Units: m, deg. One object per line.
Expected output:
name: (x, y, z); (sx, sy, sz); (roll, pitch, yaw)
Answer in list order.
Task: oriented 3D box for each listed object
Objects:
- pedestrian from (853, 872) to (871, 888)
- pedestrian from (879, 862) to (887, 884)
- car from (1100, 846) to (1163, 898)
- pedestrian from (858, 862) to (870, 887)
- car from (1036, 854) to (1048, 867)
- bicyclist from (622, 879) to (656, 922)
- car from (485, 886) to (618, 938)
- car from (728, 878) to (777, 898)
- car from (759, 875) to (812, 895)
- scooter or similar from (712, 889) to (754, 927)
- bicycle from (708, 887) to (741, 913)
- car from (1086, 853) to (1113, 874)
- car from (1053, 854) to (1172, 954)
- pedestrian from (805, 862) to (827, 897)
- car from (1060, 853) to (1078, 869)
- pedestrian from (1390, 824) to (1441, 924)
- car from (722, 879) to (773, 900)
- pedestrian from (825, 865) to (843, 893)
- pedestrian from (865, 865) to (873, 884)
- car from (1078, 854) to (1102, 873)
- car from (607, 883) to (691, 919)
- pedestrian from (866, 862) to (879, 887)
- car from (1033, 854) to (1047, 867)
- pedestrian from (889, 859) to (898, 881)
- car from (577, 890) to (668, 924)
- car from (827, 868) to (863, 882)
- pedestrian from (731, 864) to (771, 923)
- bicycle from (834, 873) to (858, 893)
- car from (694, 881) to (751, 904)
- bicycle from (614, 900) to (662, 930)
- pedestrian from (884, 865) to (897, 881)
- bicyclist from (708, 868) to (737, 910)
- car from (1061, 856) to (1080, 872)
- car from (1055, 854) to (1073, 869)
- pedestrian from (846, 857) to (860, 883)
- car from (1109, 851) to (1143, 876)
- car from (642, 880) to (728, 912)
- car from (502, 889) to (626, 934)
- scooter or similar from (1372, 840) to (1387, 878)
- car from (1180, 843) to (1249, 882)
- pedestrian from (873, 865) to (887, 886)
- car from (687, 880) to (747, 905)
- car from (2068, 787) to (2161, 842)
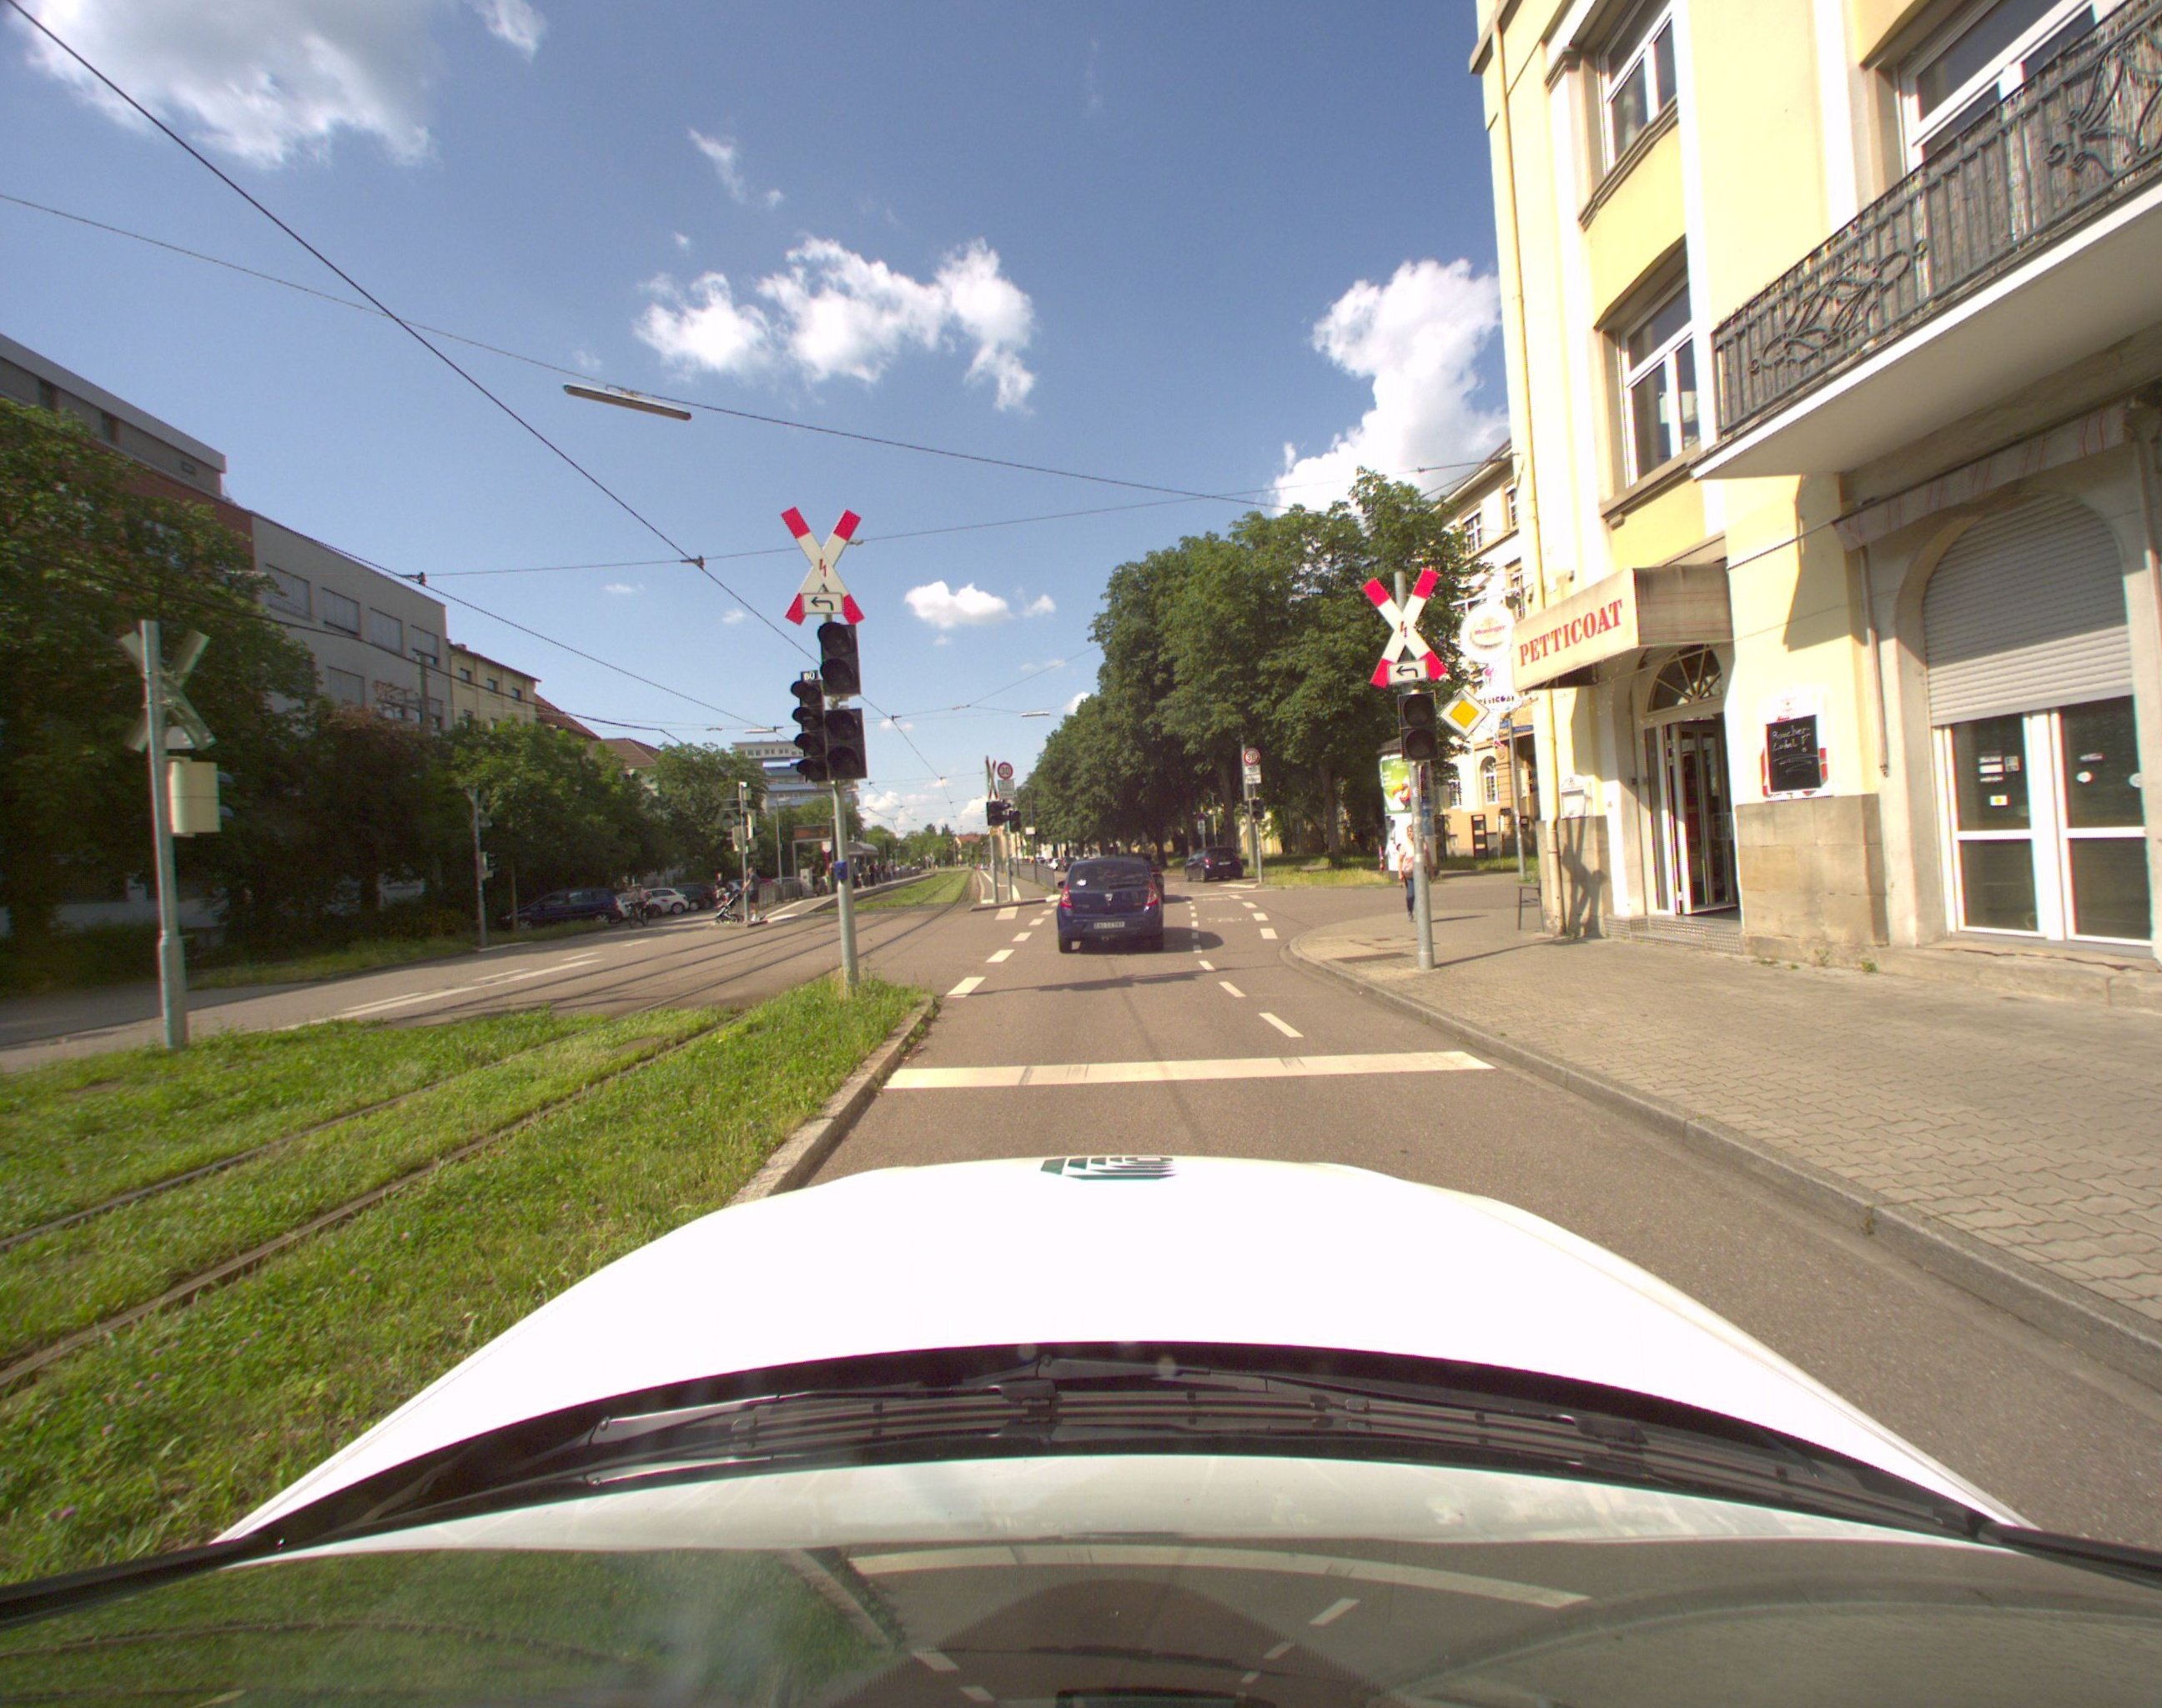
pedestrian: (-14.909, 1.779, 55.450); (0.923, 0.989, 0.796); (-5, -2, -5)
pedestrian: (-16.078, 1.562, 66.156); (0.489, 1.712, 0.461); (-5, 0, -17)
car: (1.456, 0.475, 24.312); (1.693, 1.368, 3.516); (-2, 0, 2)
pedestrian: (-15.532, 1.485, 58.186); (0.592, 1.736, 0.556); (-5, 0, -3)
car: (-5.925, 0.943, 123.054); (1.664, 1.772, 3.995); (-4, 0, -3)
bicyclist: (-17.373, 1.812, 32.014); (0.783, 1.581, 0.862); (-5, 0, -4)
car: (-21.278, 2.306, 32.836); (1.704, 1.640, 4.158); (-4, 0, 44)
car: (-26.049, 2.719, 64.677); (1.437, 1.309, 3.268); (-4, 0, 37)
car: (-26.080, 2.695, 72.006); (1.694, 1.367, 4.025); (-5, 0, 42)
scooter or similar: (-11.044, 1.702, 25.885); (0.954, 1.064, 0.795); (-6, 0, -8)
bicycle: (-18.169, 2.353, 41.599); (1.156, 1.177, 1.779); (-5, 0, -14)
car: (1.486, 0.766, 67.293); (1.856, 1.445, 3.997); (-6, 0, -2)
car: (0.550, 0.764, 14.354); (1.761, 1.462, 3.777); (-2, 0, 2)
pedestrian: (-13.844, 1.338, 42.545); (0.705, 1.726, 0.672); (-4, 0, 35)
car: (-1.366, 0.772, 89.859); (1.823, 1.537, 3.997); (-5, 0, -2)
pedestrian: (5.779, 0.335, 14.104); (0.666, 1.648, 0.767); (-5, -1, 21)
car: (-25.355, 2.673, 61.936); (1.437, 1.309, 3.268); (-4, 0, 37)
pedestrian: (-14.425, 1.462, 47.555); (0.661, 1.569, 0.686); (-5, 0, 1)
pedestrian: (-17.072, 1.631, 65.633); (0.489, 1.452, 0.461); (-5, 0, -17)
car: (0.789, 0.844, 71.916); (1.847, 1.515, 3.997); (-4, 0, -2)
car: (-22.125, 2.389, 41.775); (3.409, 1.505, 1.525); (-4, 0, -45)
pedestrian: (-15.160, 1.470, 59.254); (0.602, 1.766, 0.639); (-4, 0, 2)
car: (-5.919, 0.937, 116.934); (1.825, 1.761, 3.997); (-4, 0, -2)
pedestrian: (-17.733, 1.540, 76.999); (0.661, 2.013, 0.800); (-4, 0, -12)
car: (-21.755, 2.495, 38.677); (1.525, 1.236, 3.410); (-4, 0, 44)
car: (-29.603, 2.586, 102.172); (4.022, 1.447, 1.707); (-4, 0, -42)
pedestrian: (-10.583, 1.239, 26.153); (0.872, 1.775, 0.999); (-6, 0, -13)
bicycle: (-13.659, 1.688, 47.446); (0.683, 0.974, 1.772); (-6, 0, 3)
car: (-24.568, 2.620, 55.898); (1.437, 1.309, 3.268); (-4, 0, 37)
bicycle: (-17.295, 2.365, 31.855); (0.679, 0.971, 2.176); (-5, 0, -3)
pedestrian: (-18.478, 1.838, 79.092); (1.033, 1.437, 0.698); (-5, 0, -22)
bicyclist: (-18.279, 1.776, 41.551); (0.949, 2.013, 1.568); (-4, 0, -14)
car: (-1.107, 0.989, 84.393); (1.856, 1.445, 3.997); (-5, 0, -2)
car: (-2.076, 0.916, 98.260); (1.616, 1.750, 3.991); (-4, 0, -6)
pedestrian: (-15.180, 1.059, 54.137); (0.654, 1.692, 0.655); (-5, 0, -7)
car: (2.987, 0.639, 55.226); (1.856, 1.445, 3.997); (-6, 0, -2)
car: (-22.846, 2.404, 47.084); (1.669, 1.456, 4.025); (-5, 0, 43)
car: (-22.103, 2.435, 34.933); (1.704, 1.499, 4.158); (-4, 0, 44)
scooter or similar: (9.679, 0.136, 26.400); (0.303, 1.189, 1.167); (-4, 0, 16)
car: (5.645, 0.347, 34.965); (1.764, 1.433, 3.893); (-5, 0, -8)
pedestrian: (-14.766, 1.575, 59.911); (0.648, 1.426, 0.566); (-5, 0, 30)
car: (-23.756, 2.513, 53.243); (1.437, 1.309, 3.268); (-4, 0, 35)
car: (30.658, -1.170, 23.792); (1.367, 1.456, 3.288); (-4, 0, 34)
